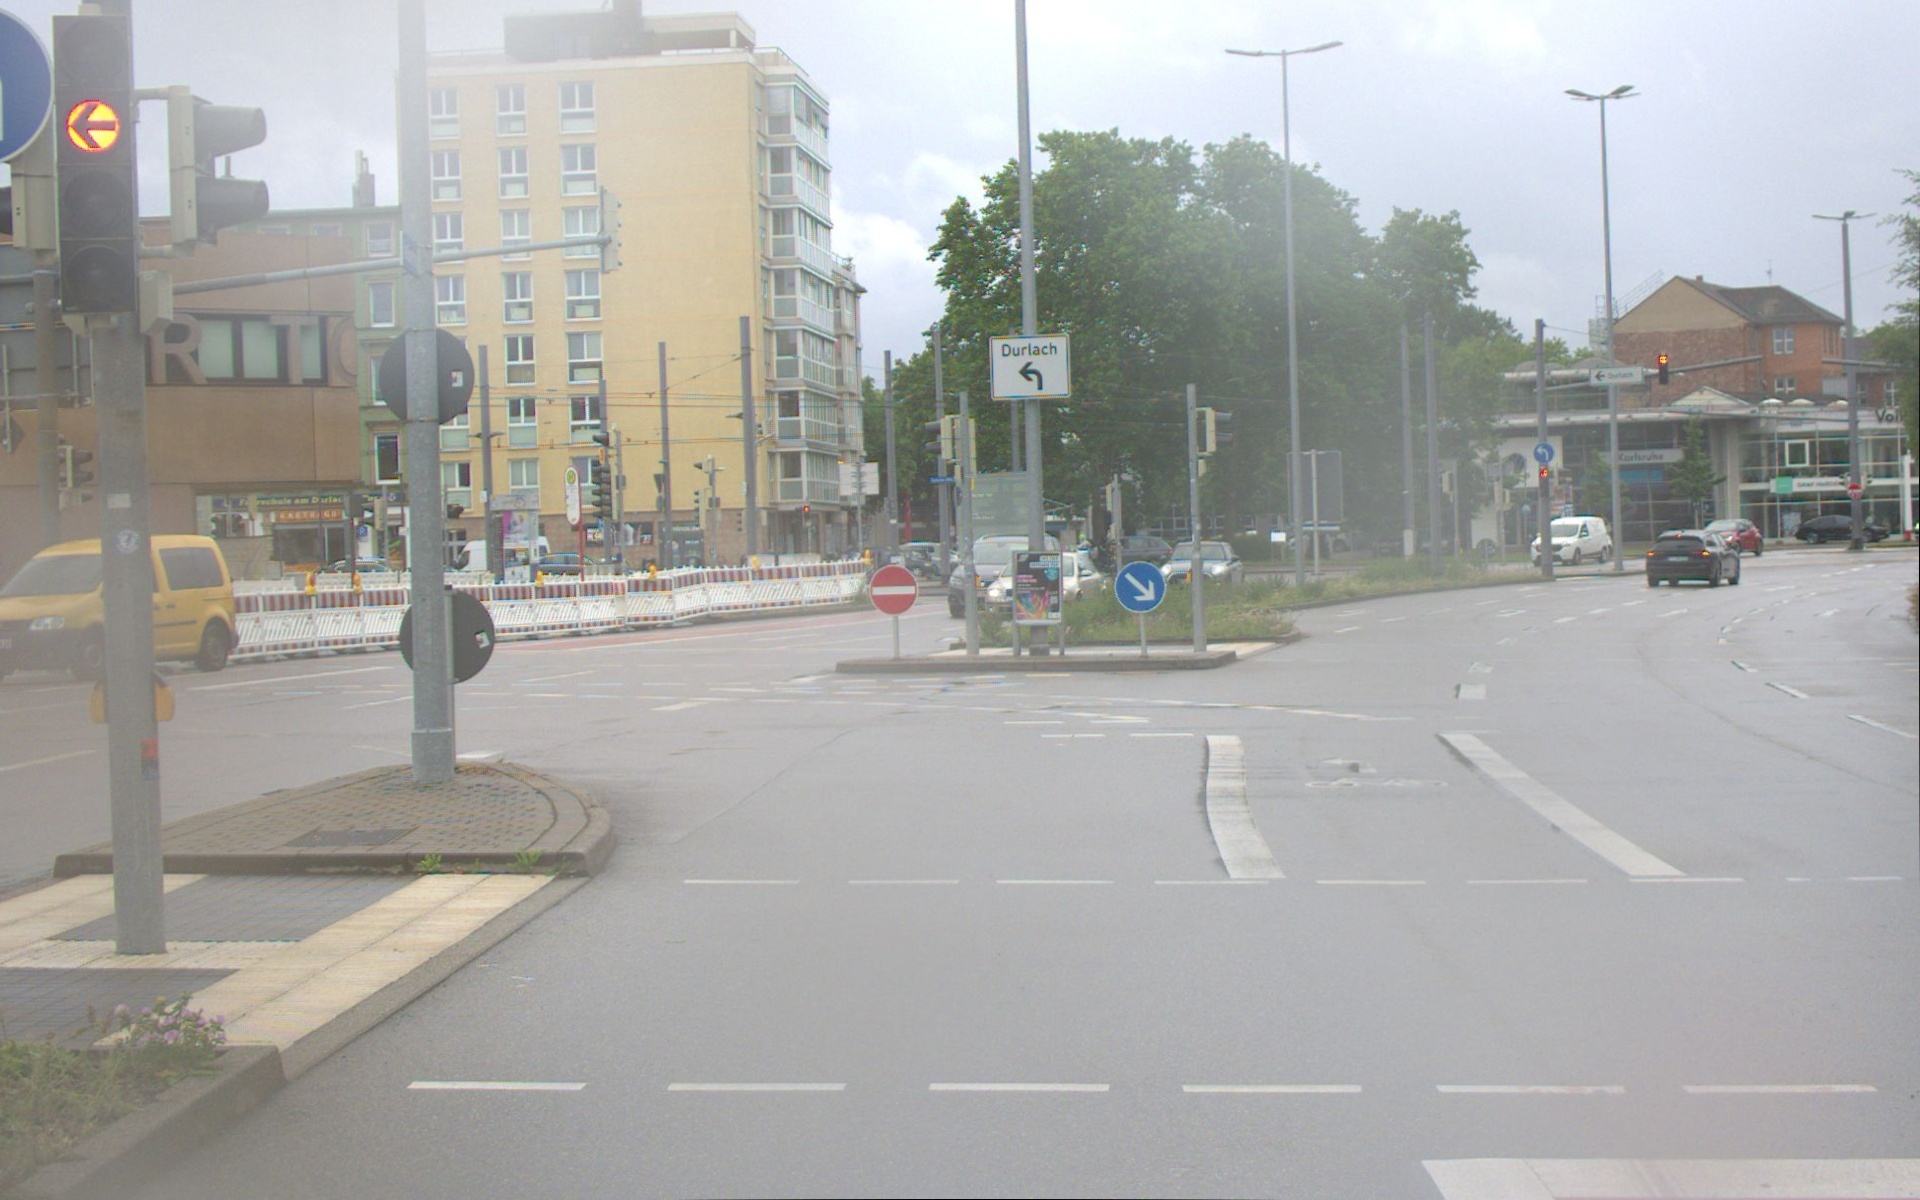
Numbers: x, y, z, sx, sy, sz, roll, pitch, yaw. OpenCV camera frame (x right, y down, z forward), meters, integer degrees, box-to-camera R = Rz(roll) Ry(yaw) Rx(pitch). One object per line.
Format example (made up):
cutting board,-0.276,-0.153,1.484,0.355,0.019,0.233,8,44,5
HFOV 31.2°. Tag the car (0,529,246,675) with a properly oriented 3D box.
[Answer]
car,-10.875,-0.001,43.312,1.707,1.700,4.149,-1,1,20

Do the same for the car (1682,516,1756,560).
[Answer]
car,29.709,-2.431,134.514,1.792,1.637,4.040,-1,1,28

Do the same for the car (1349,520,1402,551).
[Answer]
car,23.109,-3.575,191.222,1.792,1.637,4.154,-1,1,23

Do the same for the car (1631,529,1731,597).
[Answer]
car,18.326,-0.955,87.264,1.792,1.637,4.155,-1,1,21

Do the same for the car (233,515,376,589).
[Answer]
car,-27.170,-1.987,142.683,5.351,2.877,2.339,-2,1,3

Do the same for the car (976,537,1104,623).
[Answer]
car,1.559,-0.399,65.492,1.694,1.410,4.182,-2,2,11

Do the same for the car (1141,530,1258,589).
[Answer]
car,5.786,-0.987,82.665,1.774,1.371,4.116,0,1,19

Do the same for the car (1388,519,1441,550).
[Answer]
car,25.182,-3.615,190.388,1.792,1.637,4.154,-1,1,23

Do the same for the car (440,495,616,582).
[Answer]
car,-17.802,-2.537,142.011,6.742,3.368,2.809,-2,1,3

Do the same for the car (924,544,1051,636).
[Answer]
car,0.628,-0.244,73.427,1.695,1.684,4.181,-2,3,14

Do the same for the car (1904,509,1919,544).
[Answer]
car,45.768,-3.471,160.487,1.794,1.637,4.150,-1,1,37

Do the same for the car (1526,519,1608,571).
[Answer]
car,22.823,-2.065,129.200,1.793,1.852,4.153,-1,1,28

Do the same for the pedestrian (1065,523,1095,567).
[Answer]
pedestrian,5.035,-2.295,144.001,1.092,1.807,1.119,-2,1,-4
